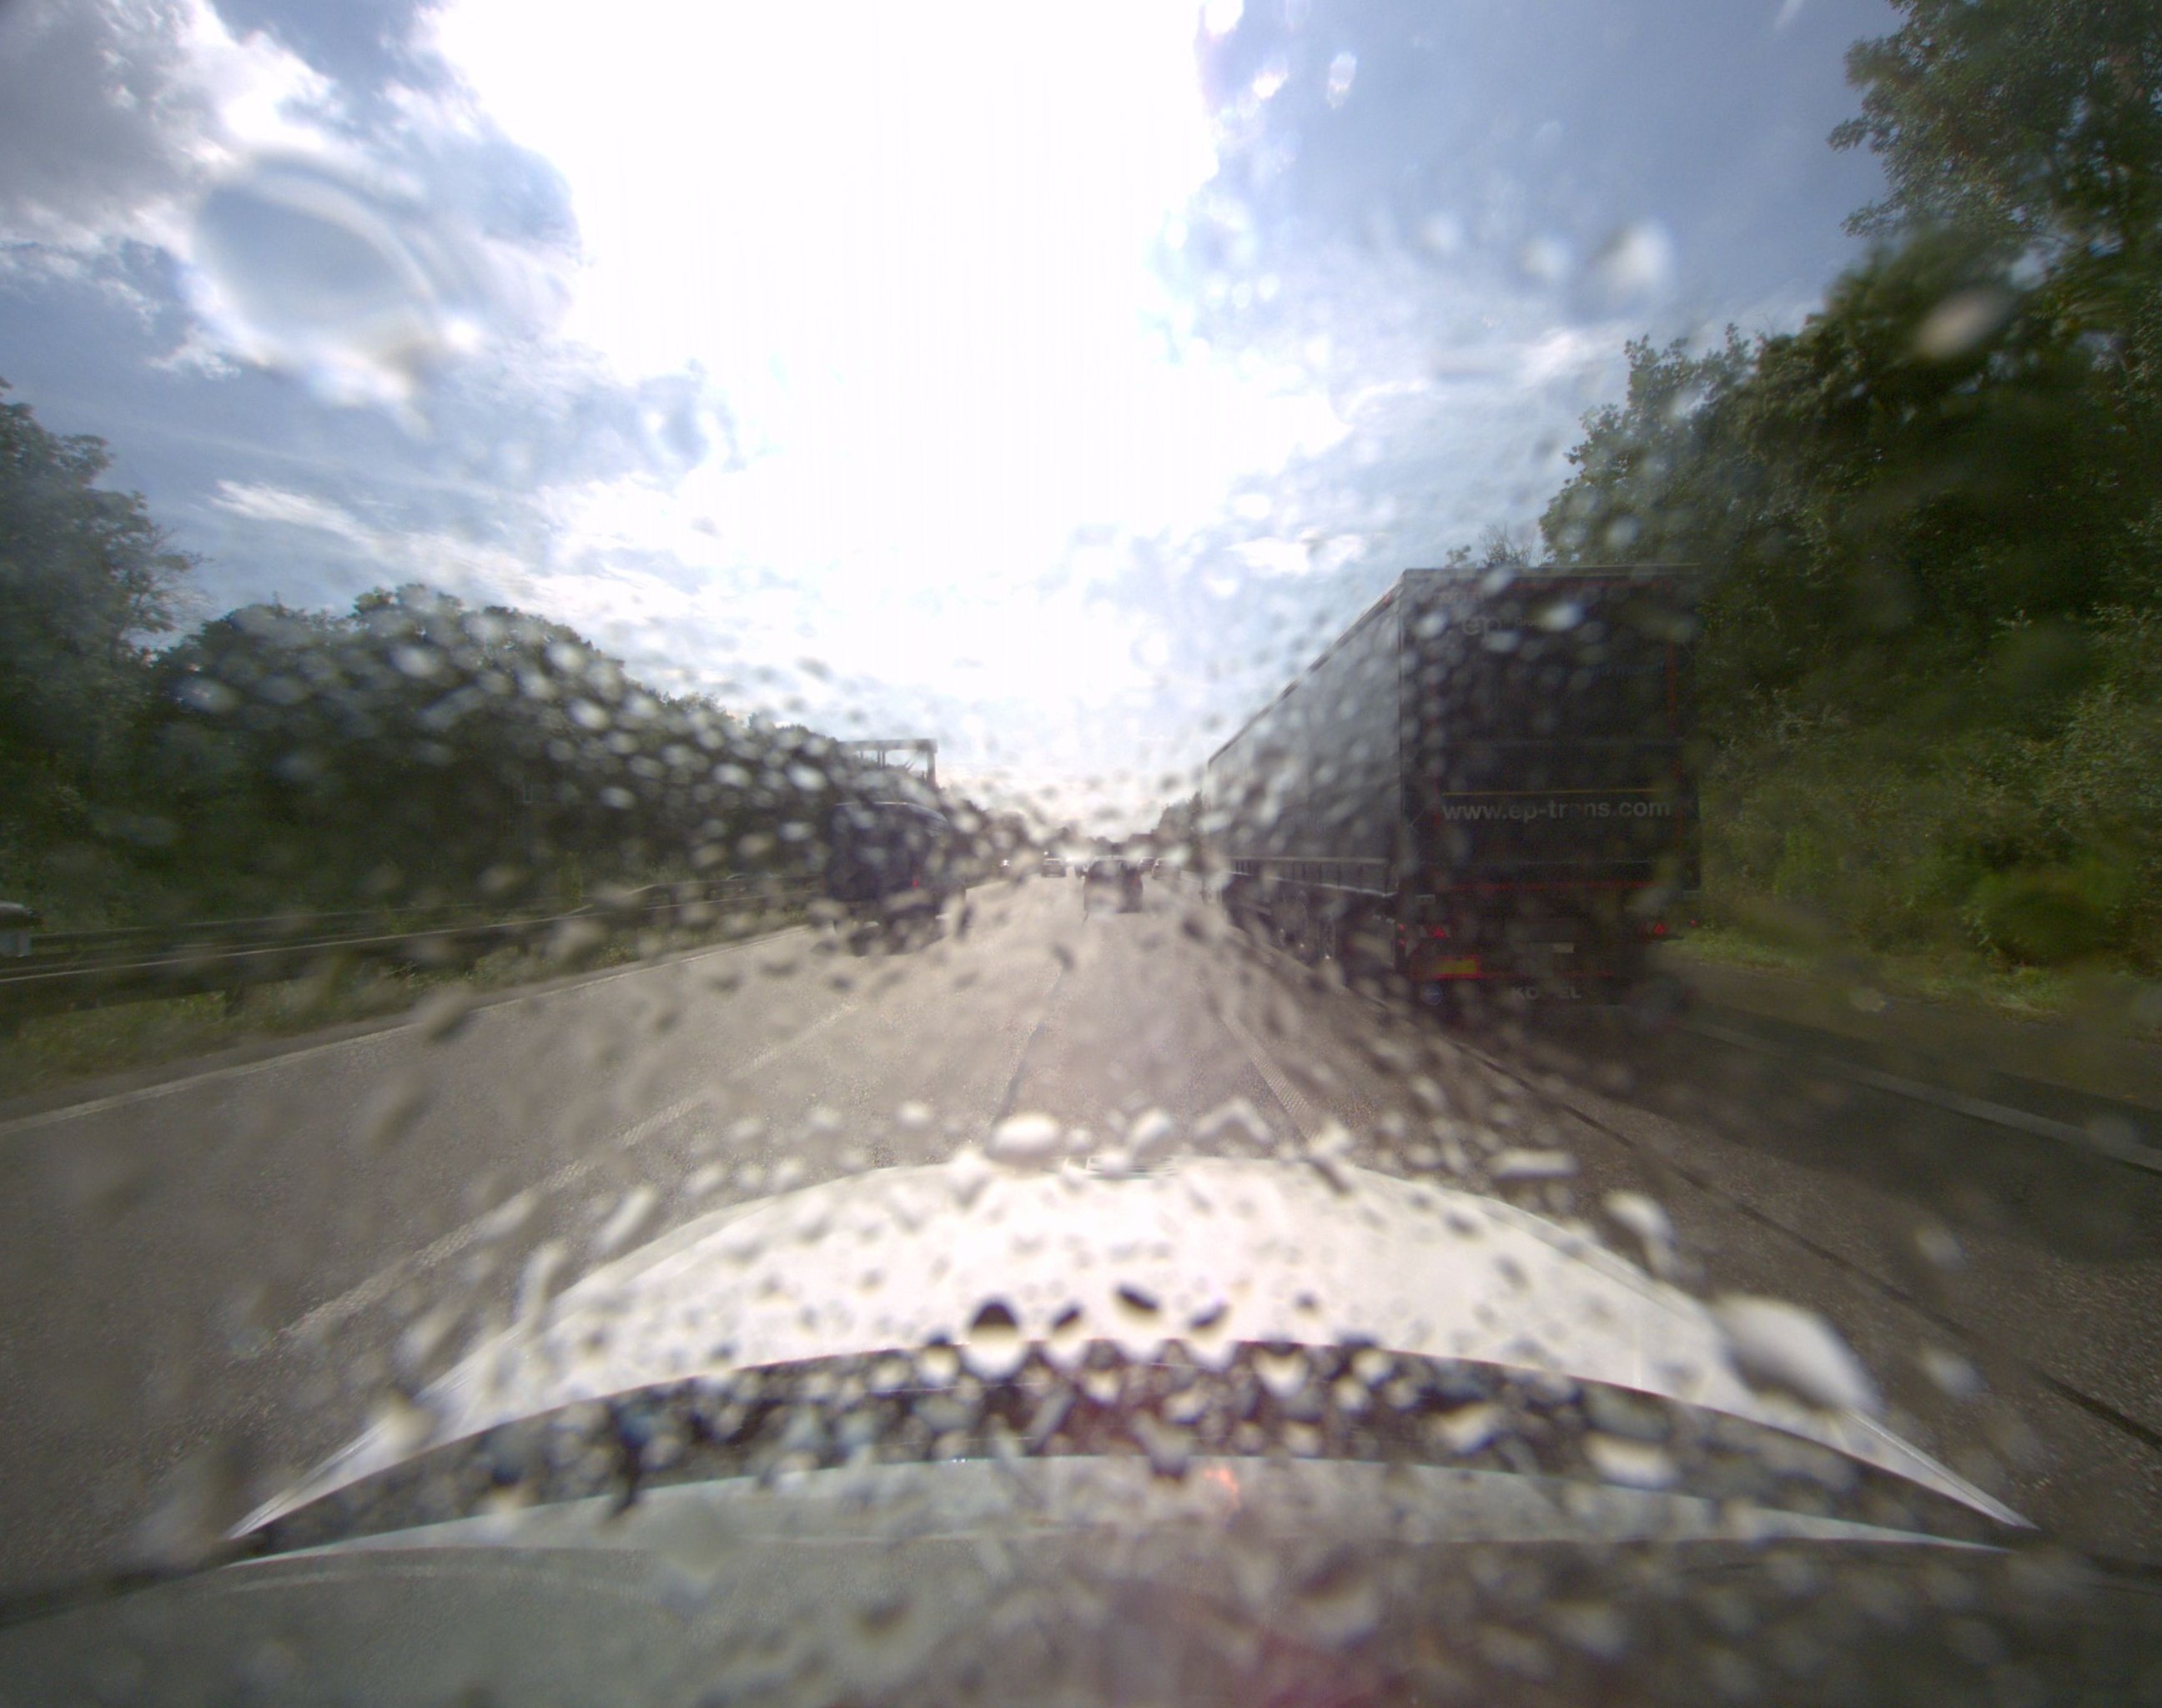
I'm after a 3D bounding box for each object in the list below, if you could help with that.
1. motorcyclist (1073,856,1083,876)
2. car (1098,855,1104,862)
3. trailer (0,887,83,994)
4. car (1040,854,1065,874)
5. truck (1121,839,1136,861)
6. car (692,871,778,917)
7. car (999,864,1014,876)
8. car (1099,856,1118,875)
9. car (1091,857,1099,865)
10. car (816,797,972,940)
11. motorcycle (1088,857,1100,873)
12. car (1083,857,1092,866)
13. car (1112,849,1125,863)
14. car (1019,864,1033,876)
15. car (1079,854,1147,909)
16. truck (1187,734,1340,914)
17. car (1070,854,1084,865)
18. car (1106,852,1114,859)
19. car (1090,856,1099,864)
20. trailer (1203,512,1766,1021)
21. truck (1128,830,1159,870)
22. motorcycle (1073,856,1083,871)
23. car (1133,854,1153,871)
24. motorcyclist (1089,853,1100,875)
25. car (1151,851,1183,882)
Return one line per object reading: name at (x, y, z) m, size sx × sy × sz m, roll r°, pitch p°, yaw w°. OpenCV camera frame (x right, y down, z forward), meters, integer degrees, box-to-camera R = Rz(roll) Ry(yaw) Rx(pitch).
motorcyclist at (-0.235, 0.840, 57.739) m, size 0.668 × 1.442 × 1.019 m, roll -1°, pitch -1°, yaw -1°
car at (5.956, 1.356, 241.906) m, size 1.986 × 2.014 × 4.000 m, roll -1°, pitch -1°, yaw 1°
trailer at (-21.757, 1.682, 14.897) m, size 1.986 × 2.014 × 4.001 m, roll -1°, pitch -1°, yaw 2°
car at (-2.299, 0.815, 66.762) m, size 1.752 × 1.595 × 4.331 m, roll -1°, pitch 0°, yaw 1°
truck at (10.228, -0.819, 176.981) m, size 2.871 × 4.687 × 12.661 m, roll -1°, pitch -1°, yaw 1°
car at (-16.545, 1.841, 39.210) m, size 1.986 × 2.014 × 4.734 m, roll -1°, pitch -1°, yaw 1°
car at (-12.653, 2.696, 137.774) m, size 1.986 × 2.014 × 4.734 m, roll -1°, pitch -1°, yaw 1°
car at (3.116, 1.287, 92.732) m, size 1.987 × 2.014 × 4.000 m, roll -1°, pitch -1°, yaw 1°
car at (3.041, 1.519, 176.990) m, size 1.669 × 1.490 × 3.437 m, roll -1°, pitch 0°, yaw 1°
car at (-3.905, 0.283, 18.170) m, size 2.008 × 2.648 × 5.777 m, roll -1°, pitch 0°, yaw 1°
motorcycle at (1.080, 0.858, 66.126) m, size 0.818 × 1.263 × 2.115 m, roll -1°, pitch 0°, yaw -3°
car at (1.169, 1.372, 151.328) m, size 1.669 × 1.597 × 3.437 m, roll -1°, pitch 0°, yaw 1°
car at (5.263, 0.301, 115.142) m, size 1.669 × 1.936 × 3.774 m, roll -1°, pitch 0°, yaw 1°
car at (-9.067, 2.631, 134.812) m, size 1.986 × 2.014 × 4.734 m, roll -1°, pitch -1°, yaw 1°
car at (0.952, 0.794, 25.421) m, size 1.908 × 1.565 × 4.314 m, roll -1°, pitch 0°, yaw 1°
truck at (4.786, -0.704, 22.595) m, size 3.041 × 4.325 × 5.888 m, roll -1°, pitch -1°, yaw 2°
car at (-0.567, 0.867, 123.384) m, size 1.886 × 1.628 × 4.195 m, roll -1°, pitch 0°, yaw 1°
car at (6.387, 0.329, 179.217) m, size 1.626 × 1.490 × 3.437 m, roll -1°, pitch 0°, yaw 1°
car at (3.278, 1.445, 196.015) m, size 1.986 × 2.014 × 4.000 m, roll -1°, pitch -1°, yaw 1°
trailer at (4.493, -0.728, 14.028) m, size 3.076 × 4.312 × 14.110 m, roll -1°, pitch 0°, yaw 2°
truck at (7.278, -0.434, 96.236) m, size 3.190 × 4.404 × 9.436 m, roll -1°, pitch 0°, yaw 2°
motorcycle at (-0.226, 0.668, 57.714) m, size 0.674 × 1.087 × 1.980 m, roll 0°, pitch 0°, yaw -2°
car at (5.750, 0.775, 75.859) m, size 1.669 × 1.490 × 3.437 m, roll -1°, pitch 0°, yaw 1°
motorcyclist at (1.081, 0.771, 66.063) m, size 0.819 × 1.761 × 1.388 m, roll -1°, pitch -1°, yaw -3°
car at (5.802, 0.856, 55.241) m, size 1.842 × 2.014 × 4.088 m, roll -1°, pitch -1°, yaw 2°
